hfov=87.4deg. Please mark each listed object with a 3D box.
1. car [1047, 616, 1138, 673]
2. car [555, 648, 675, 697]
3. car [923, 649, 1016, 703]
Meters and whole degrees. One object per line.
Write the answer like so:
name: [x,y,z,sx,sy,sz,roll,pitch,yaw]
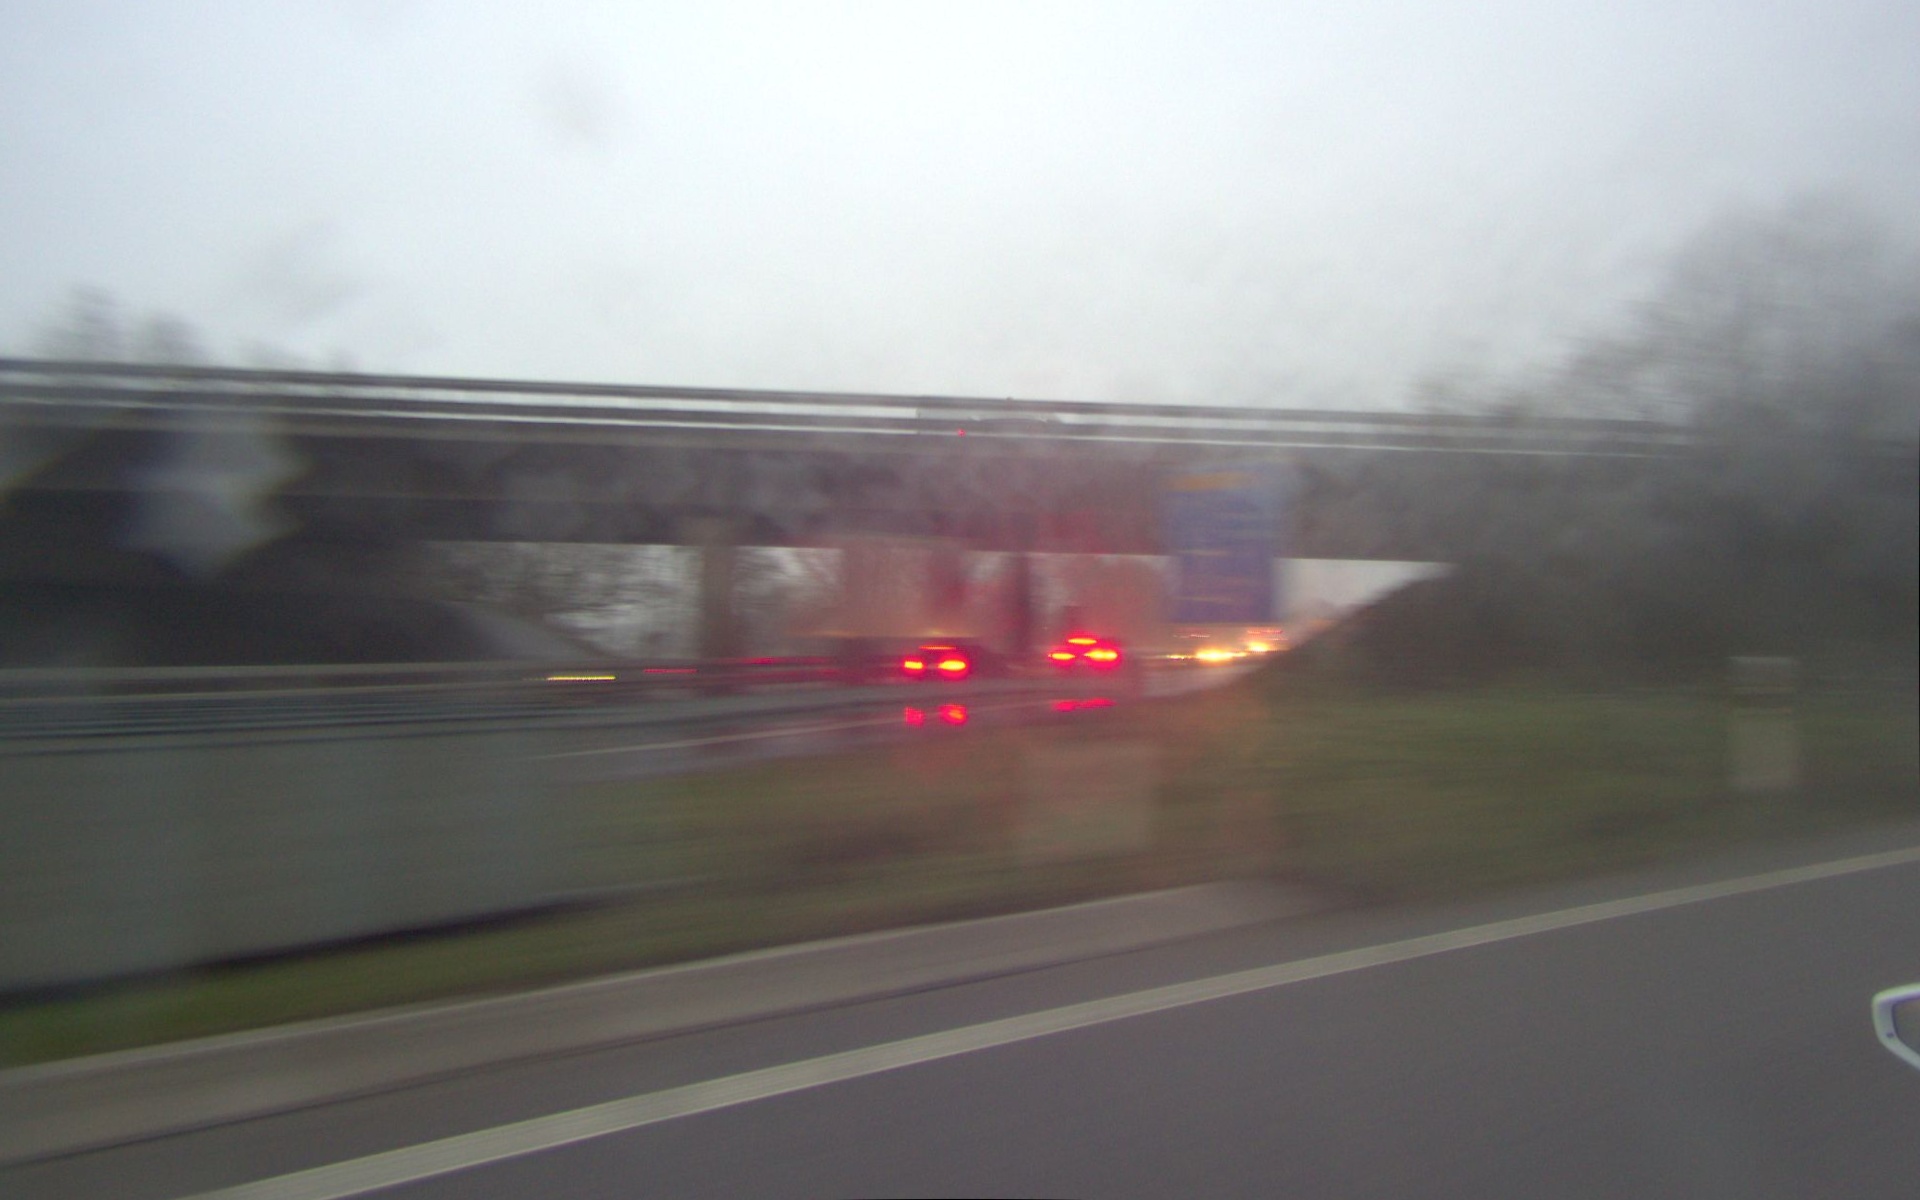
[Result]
car: [4.332,1.449,32.328,1.961,1.686,4.000,-2,-3,22]
car: [-13.078,2.710,38.254,1.965,1.578,3.990,1,-1,32]
car: [0.405,2.463,33.425,1.768,1.487,4.415,4,-1,18]
